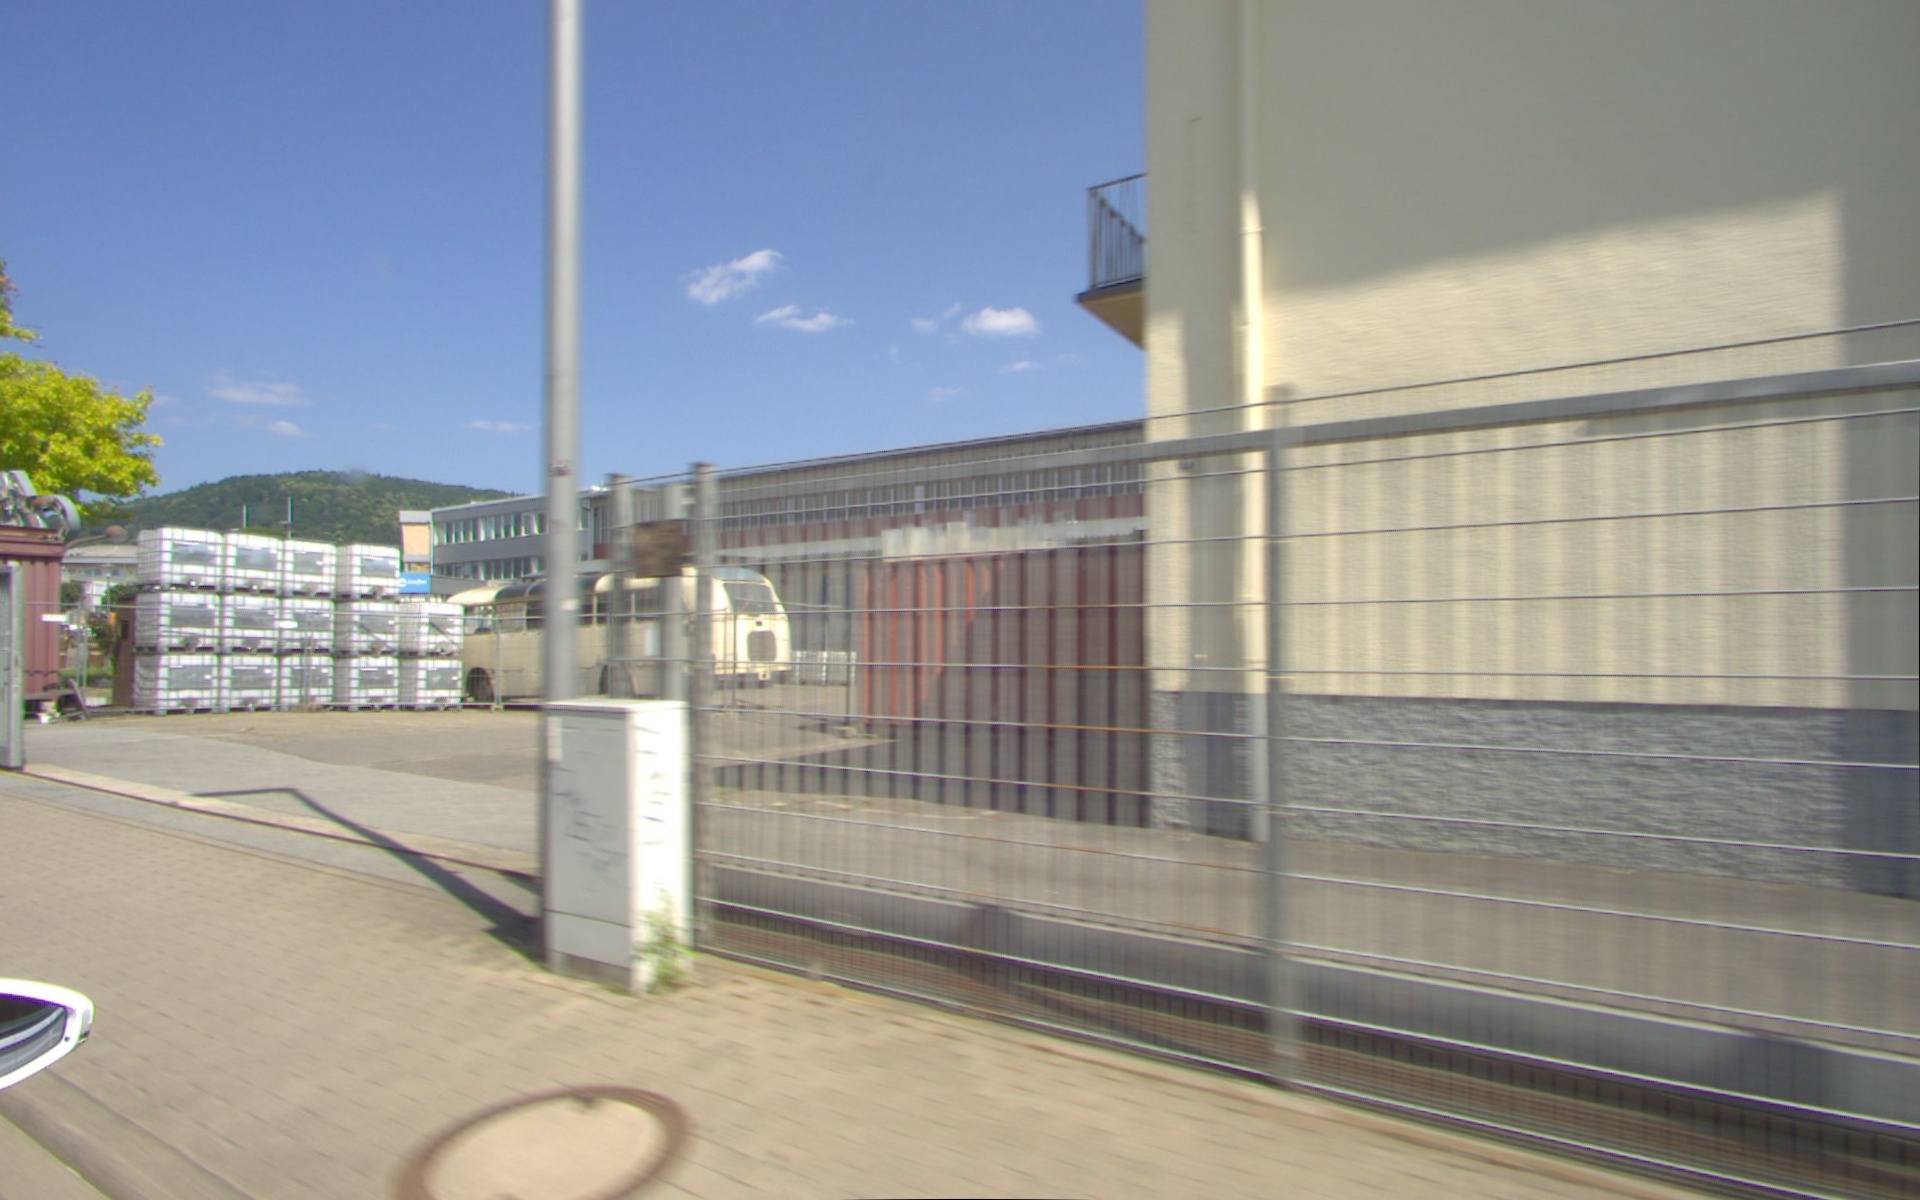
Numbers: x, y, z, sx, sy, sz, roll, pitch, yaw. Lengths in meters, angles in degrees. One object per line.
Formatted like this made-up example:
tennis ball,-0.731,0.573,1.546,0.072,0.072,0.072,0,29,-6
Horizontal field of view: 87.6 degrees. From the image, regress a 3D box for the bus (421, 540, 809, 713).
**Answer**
bus,-8.055,0.802,22.392,10.129,3.210,2.561,-4,-4,33
